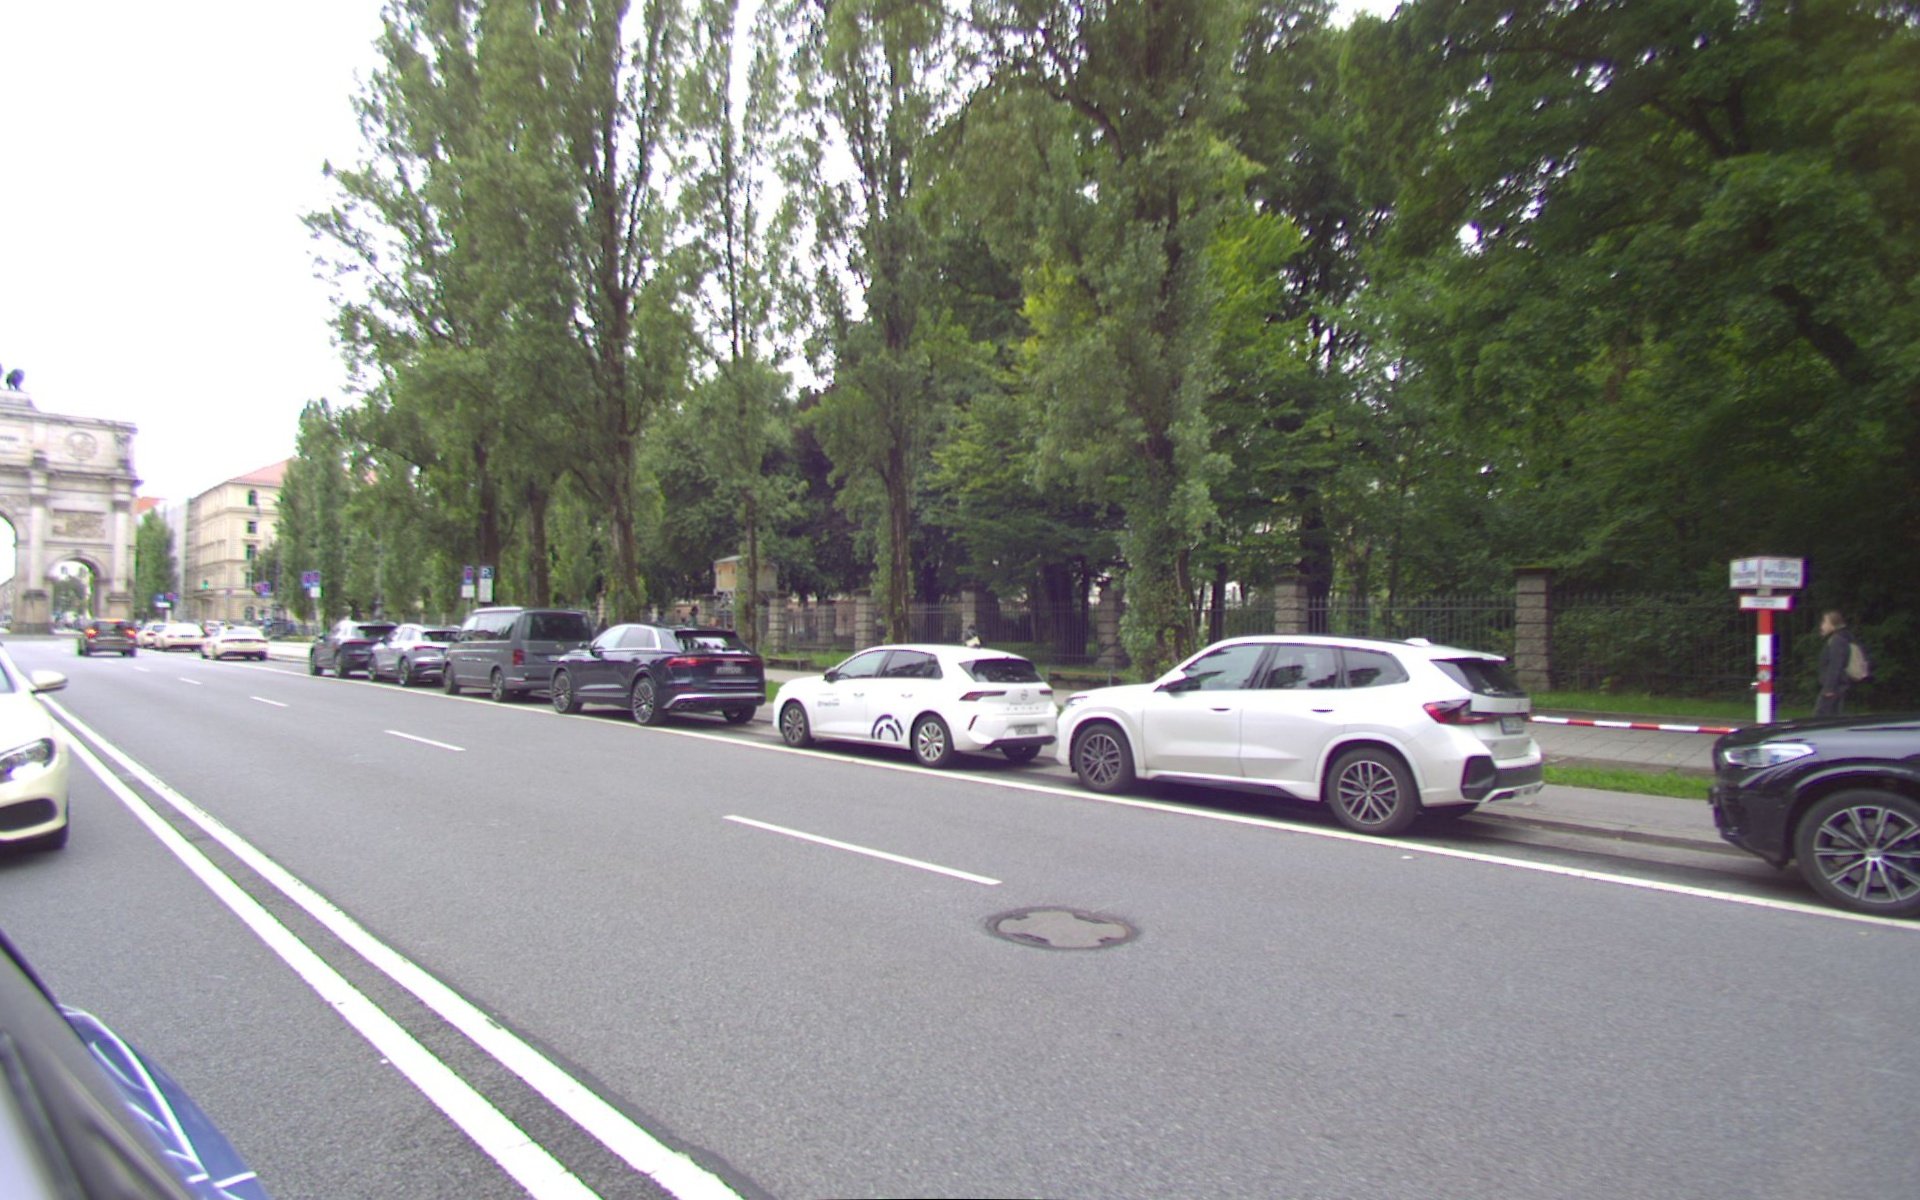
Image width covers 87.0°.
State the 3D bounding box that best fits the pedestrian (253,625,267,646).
[{"bbox_3d":[-58.098,2.940,83.950,0.832,1.691,0.970,1,-2,-29],"label":"pedestrian"}]

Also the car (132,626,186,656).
[{"bbox_3d":[-46.524,2.364,58.739,4.861,1.571,1.797,-1,-4,44],"label":"car"}]

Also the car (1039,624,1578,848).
[{"bbox_3d":[3.018,1.082,9.509,1.765,1.600,4.464,5,-5,-44],"label":"car"}]

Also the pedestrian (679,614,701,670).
[{"bbox_3d":[-9.649,1.482,36.159,0.532,1.974,0.543,-1,-2,44],"label":"pedestrian"}]

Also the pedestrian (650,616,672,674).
[{"bbox_3d":[-10.344,1.538,34.991,0.532,1.974,0.543,-1,-2,44],"label":"pedestrian"}]

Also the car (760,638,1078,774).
[{"bbox_3d":[-0.665,1.254,13.147,4.239,1.433,1.657,-1,-4,44],"label":"car"}]

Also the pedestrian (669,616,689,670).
[{"bbox_3d":[-9.813,1.502,35.372,0.612,1.849,0.428,-1,-2,44],"label":"pedestrian"}]

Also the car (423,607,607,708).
[{"bbox_3d":[-9.935,1.238,22.397,4.939,1.971,1.971,-2,-4,44],"label":"car"}]

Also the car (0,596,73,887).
[{"bbox_3d":[-7.342,0.810,6.771,1.892,1.587,4.693,-1,0,-44],"label":"car"}]

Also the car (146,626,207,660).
[{"bbox_3d":[-41.659,2.253,53.767,4.967,1.637,1.915,-1,-2,45],"label":"car"}]

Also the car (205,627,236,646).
[{"bbox_3d":[-79.260,3.890,108.433,1.975,1.869,4.995,4,-3,-43],"label":"car"}]

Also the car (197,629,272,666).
[{"bbox_3d":[-31.313,2.039,43.625,1.908,1.509,4.793,3,-4,-44],"label":"car"}]

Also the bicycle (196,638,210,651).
[{"bbox_3d":[-56.709,3.351,75.795,0.699,0.946,1.737,1,-2,-42],"label":"bicycle"}]

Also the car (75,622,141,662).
[{"bbox_3d":[-37.384,1.829,44.372,4.114,1.669,1.765,-2,-4,44],"label":"car"}]

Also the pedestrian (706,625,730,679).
[{"bbox_3d":[-7.740,1.647,32.317,0.532,1.714,0.543,-1,-2,44],"label":"pedestrian"}]

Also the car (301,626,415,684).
[{"bbox_3d":[-18.053,1.617,30.254,4.615,1.608,1.762,-2,-4,44],"label":"car"}]

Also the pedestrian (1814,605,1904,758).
[{"bbox_3d":[11.182,0.985,12.594,0.776,1.829,0.632,-2,-2,45],"label":"pedestrian"}]

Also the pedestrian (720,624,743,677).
[{"bbox_3d":[-7.399,1.627,32.781,0.532,1.682,0.543,-1,-2,44],"label":"pedestrian"}]

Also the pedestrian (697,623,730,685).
[{"bbox_3d":[-7.046,1.540,28.899,0.787,1.733,0.576,-2,-2,43],"label":"pedestrian"}]

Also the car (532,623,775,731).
[{"bbox_3d":[-5.466,1.247,17.638,5.055,1.621,1.794,-1,-4,45],"label":"car"}]

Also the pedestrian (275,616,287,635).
[{"bbox_3d":[-74.875,2.804,111.551,0.748,2.029,0.792,0,-2,10],"label":"pedestrian"}]

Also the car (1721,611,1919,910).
[{"bbox_3d":[7.088,0.924,5.343,4.718,1.671,1.859,-2,-5,43],"label":"car"}]

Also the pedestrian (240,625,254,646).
[{"bbox_3d":[-58.921,2.938,83.614,0.832,1.691,0.970,1,-2,-29],"label":"pedestrian"}]

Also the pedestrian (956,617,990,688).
[{"bbox_3d":[0.325,1.312,25.469,0.673,1.761,0.543,-1,-2,44],"label":"pedestrian"}]

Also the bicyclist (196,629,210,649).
[{"bbox_3d":[-56.735,2.918,75.830,0.685,1.510,0.862,2,-3,-42],"label":"bicyclist"}]

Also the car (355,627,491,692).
[{"bbox_3d":[-14.486,1.552,27.193,4.656,1.596,1.869,-2,-3,44],"label":"car"}]
